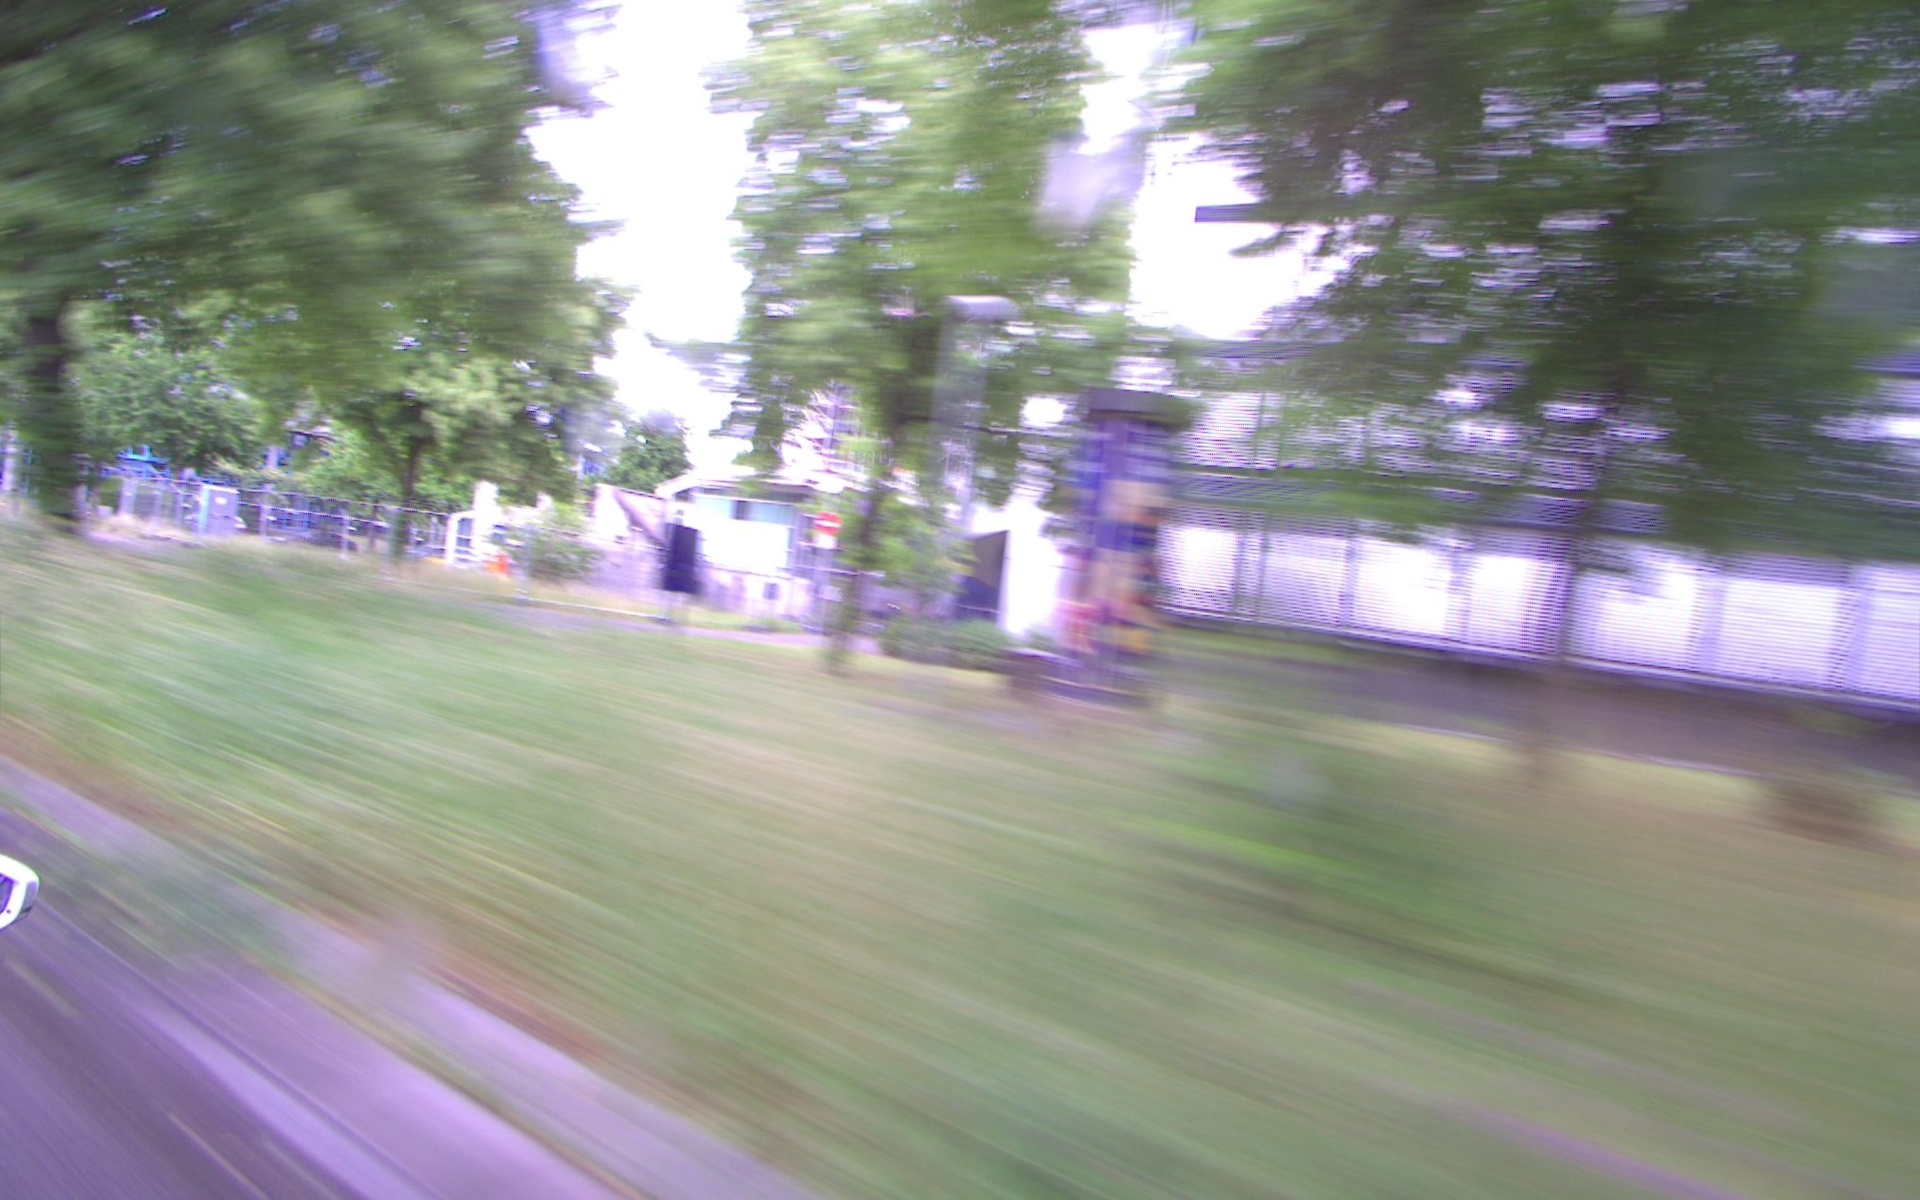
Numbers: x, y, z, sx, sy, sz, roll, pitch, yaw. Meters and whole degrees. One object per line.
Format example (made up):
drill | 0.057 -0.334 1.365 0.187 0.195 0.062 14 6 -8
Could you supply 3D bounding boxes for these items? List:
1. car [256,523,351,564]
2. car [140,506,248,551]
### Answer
car | -37.494 -3.212 57.499 1.730 1.598 4.098 10 1 36
car | -40.405 -3.736 53.133 1.730 1.662 4.098 10 1 36
